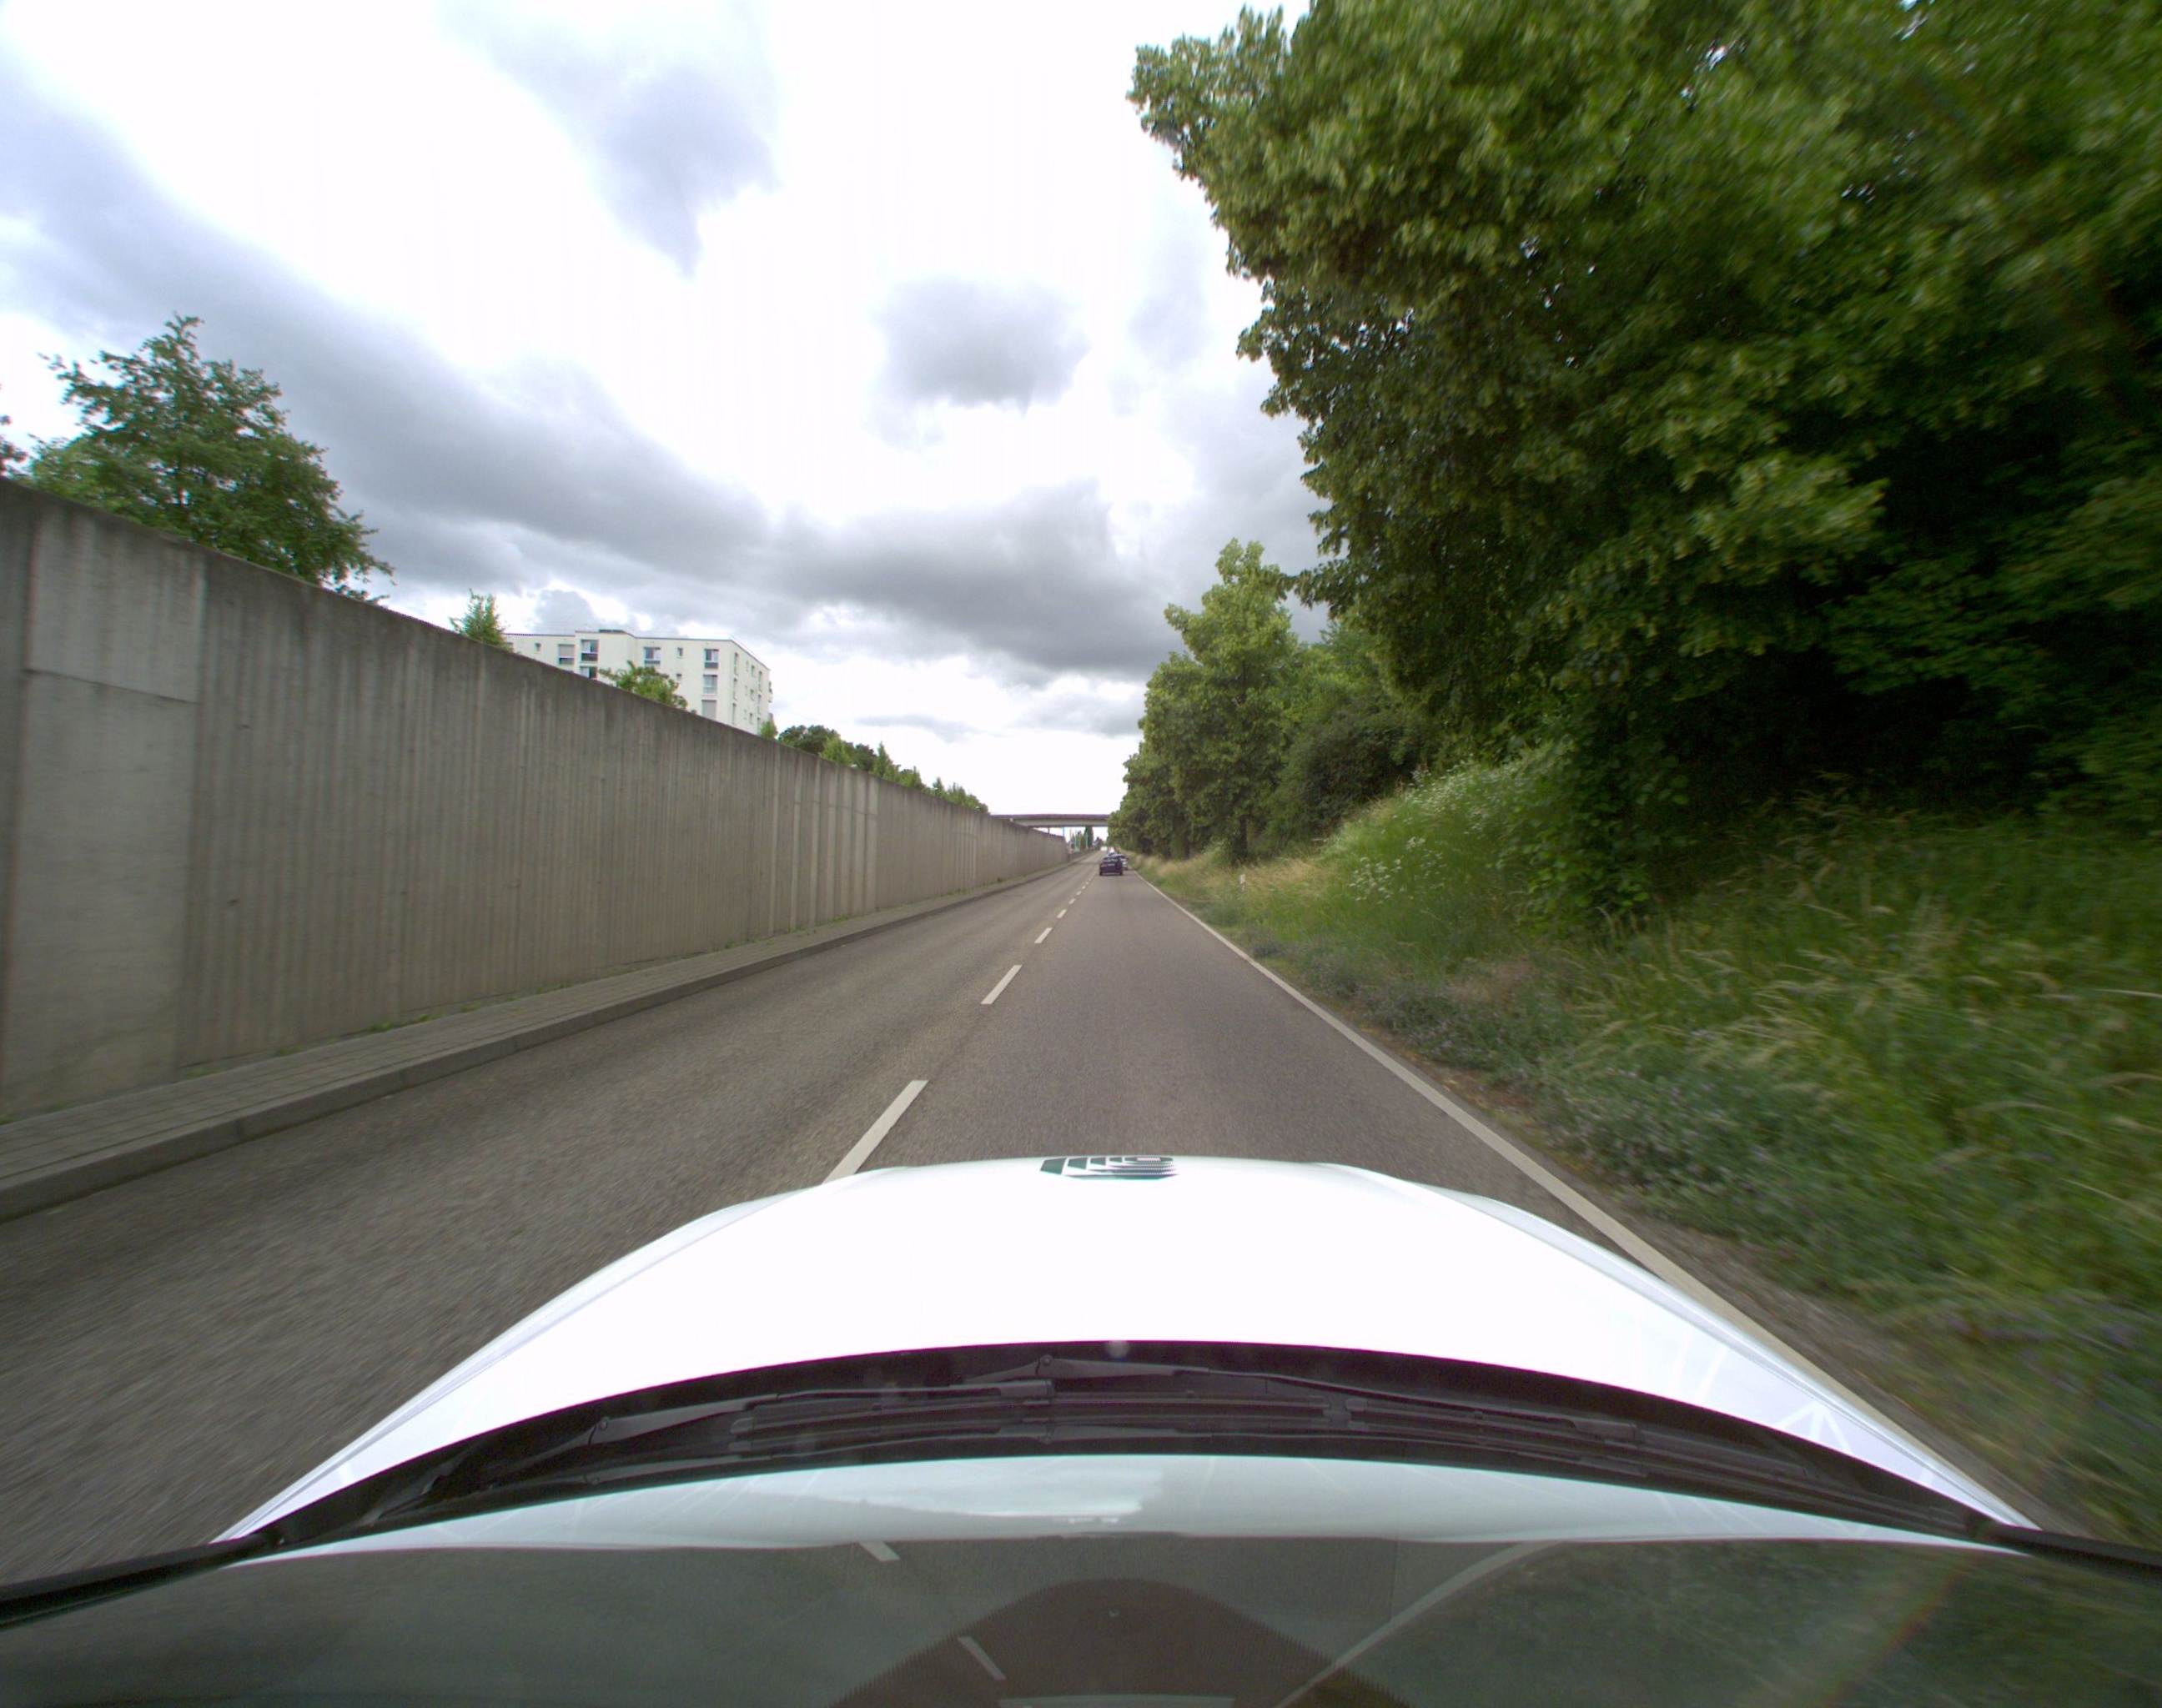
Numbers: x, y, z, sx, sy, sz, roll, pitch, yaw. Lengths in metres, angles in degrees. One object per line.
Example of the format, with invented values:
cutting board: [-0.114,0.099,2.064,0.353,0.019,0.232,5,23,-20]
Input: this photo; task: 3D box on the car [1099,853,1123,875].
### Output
car: [2.242,0.722,61.070,1.748,1.523,4.038,0,1,2]

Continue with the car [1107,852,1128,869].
car: [3.398,0.609,75.924,1.748,1.523,4.036,-2,0,0]

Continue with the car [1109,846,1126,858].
car: [4.415,-0.240,98.331,1.860,1.490,4.257,-1,0,0]
